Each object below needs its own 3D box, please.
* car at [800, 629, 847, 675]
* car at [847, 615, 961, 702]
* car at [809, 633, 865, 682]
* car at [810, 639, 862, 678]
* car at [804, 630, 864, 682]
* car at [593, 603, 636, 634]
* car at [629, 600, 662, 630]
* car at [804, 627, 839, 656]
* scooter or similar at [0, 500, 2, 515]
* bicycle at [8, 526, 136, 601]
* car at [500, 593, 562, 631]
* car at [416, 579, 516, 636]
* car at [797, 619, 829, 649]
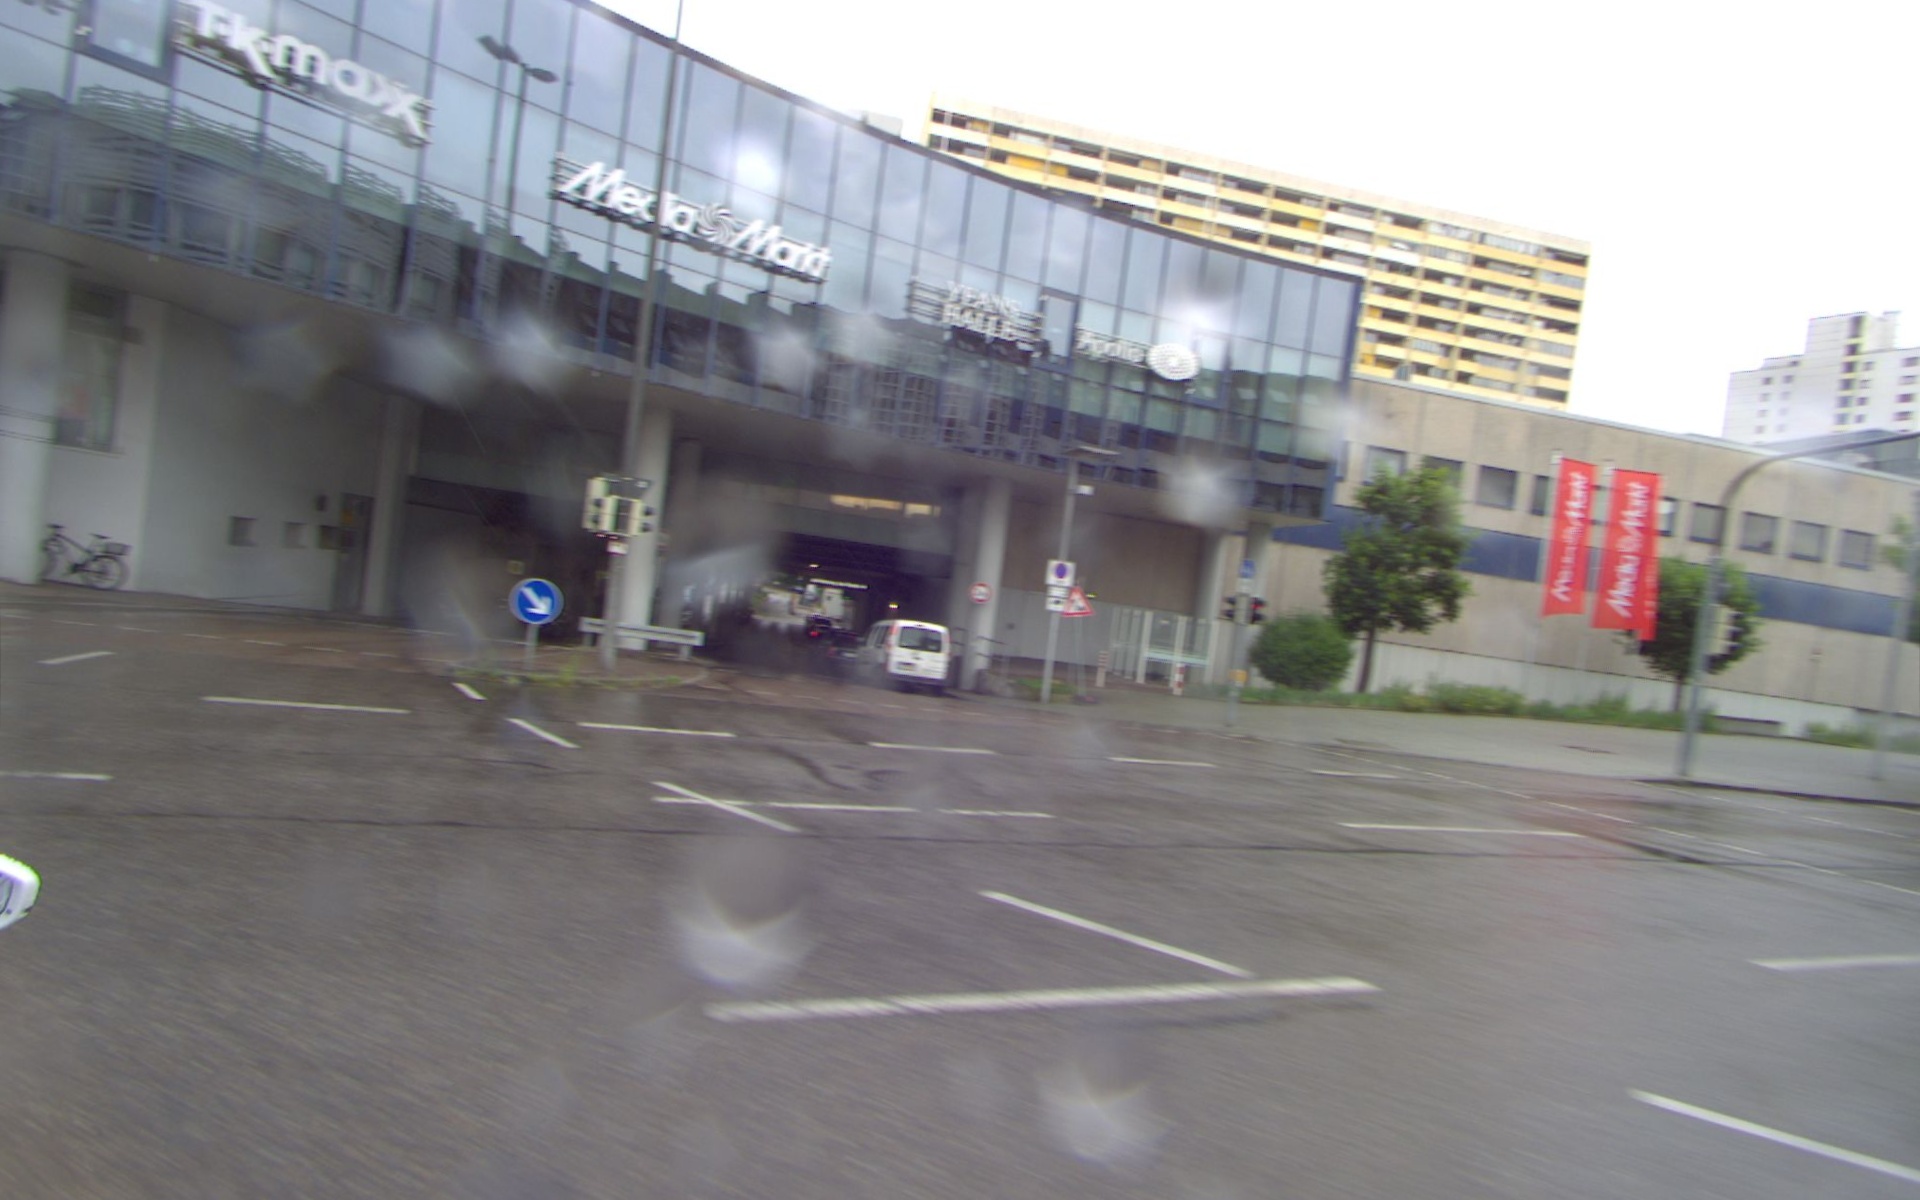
[{"bbox_3d":[-6.628,2.471,48.601,1.768,1.792,3.991,6,0,-12],"label":"car"},{"bbox_3d":[-1.578,1.459,26.432,1.903,1.819,4.283,7,-1,-16],"label":"car"},{"bbox_3d":[-4.823,2.256,38.998,1.611,1.628,4.261,6,-5,-12],"label":"car"},{"bbox_3d":[-5.483,2.517,44.132,1.756,1.416,3.995,7,-3,-12],"label":"car"},{"bbox_3d":[-4.204,1.872,33.845,1.732,1.480,3.944,6,-3,-6],"label":"car"},{"bbox_3d":[-21.844,1.150,63.737,1.889,1.607,3.930,7,0,-11],"label":"car"},{"bbox_3d":[-21.722,1.024,69.566,1.814,1.748,3.987,7,0,-16],"label":"car"},{"bbox_3d":[-9.633,2.846,69.738,1.865,1.509,3.831,9,-1,-13],"label":"car"},{"bbox_3d":[-17.570,-1.164,17.499,1.163,1.389,0.483,9,0,-42],"label":"scooter or similar"},{"bbox_3d":[-16.447,-0.661,18.677,0.444,1.027,1.588,9,-5,32],"label":"bicycle"},{"bbox_3d":[-19.608,0.555,46.137,1.747,1.480,3.870,7,-2,-11],"label":"car"},{"bbox_3d":[-16.687,0.313,34.206,1.867,1.485,4.026,7,-4,-11],"label":"car"},{"bbox_3d":[-11.079,2.538,75.754,1.818,1.798,3.581,9,-1,-13],"label":"car"}]
